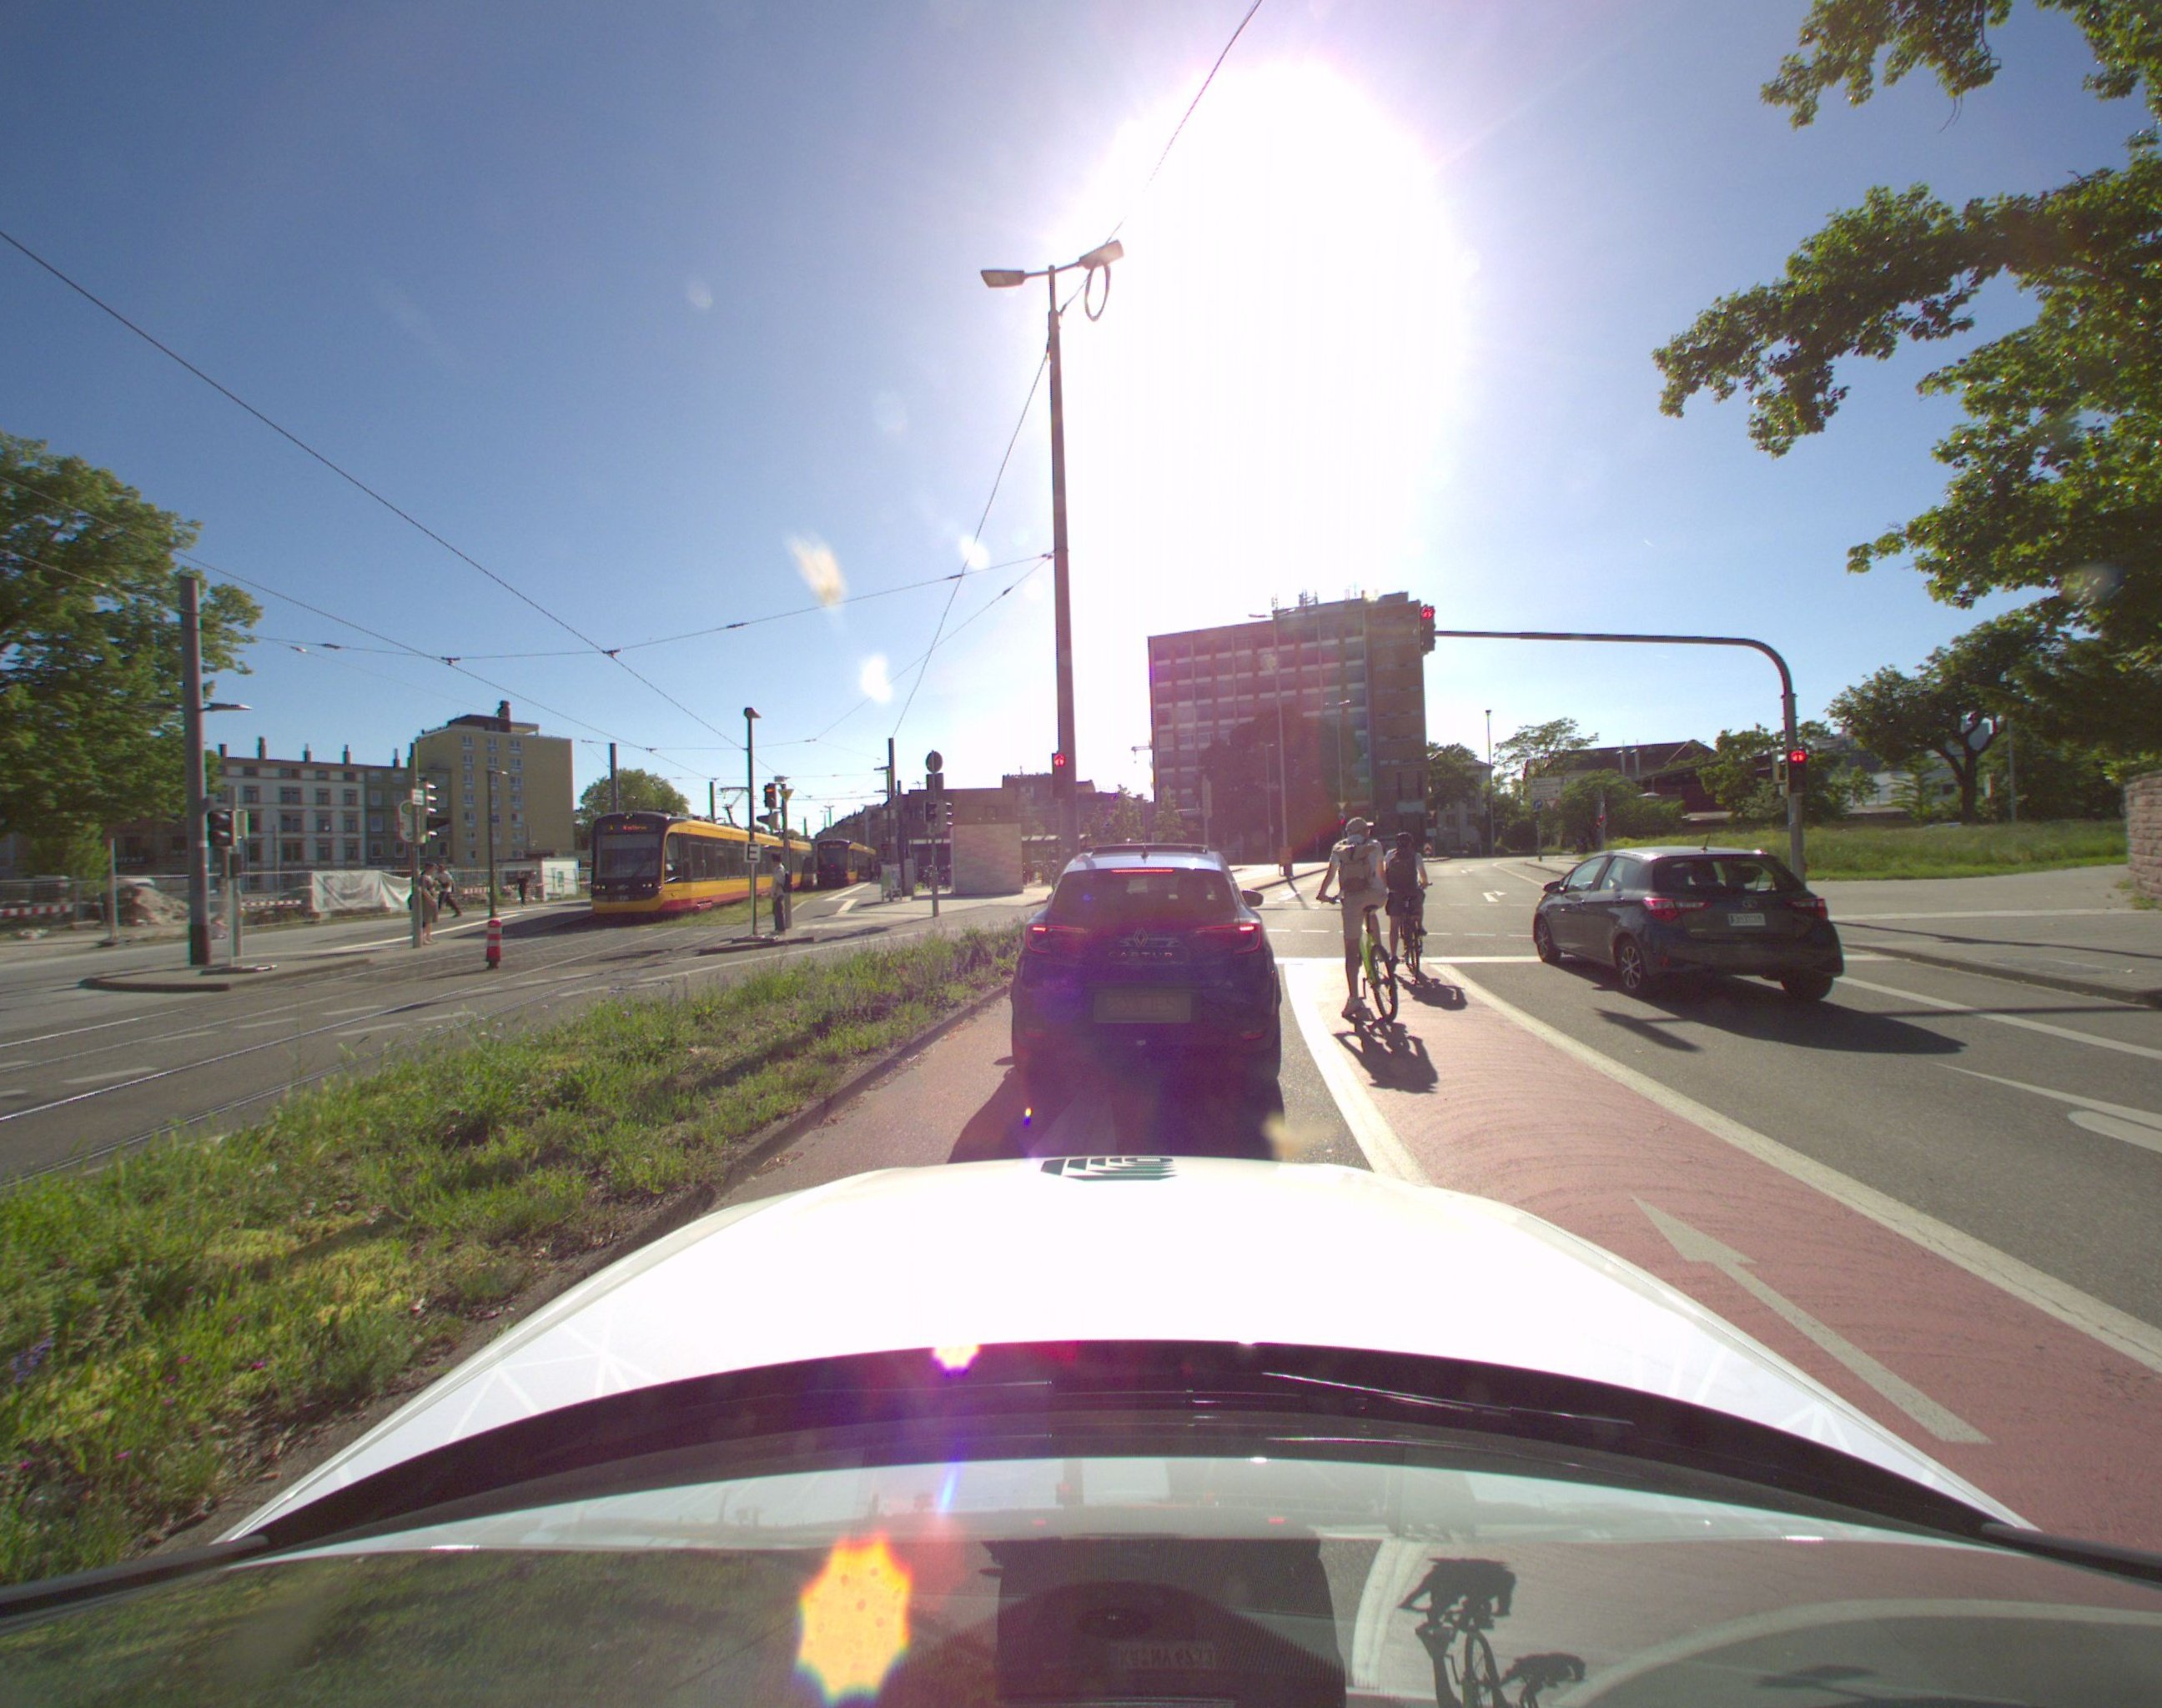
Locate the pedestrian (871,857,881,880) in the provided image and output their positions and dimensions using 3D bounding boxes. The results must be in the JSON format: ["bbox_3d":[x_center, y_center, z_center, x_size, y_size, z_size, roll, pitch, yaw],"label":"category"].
[{"bbox_3d":[-17.064,1.221,67.740,0.673,1.857,0.701,-1,-2,-7],"label":"pedestrian"}]

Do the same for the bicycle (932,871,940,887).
[{"bbox_3d":[-8.534,1.472,47.976,0.422,0.938,1.300,0,-1,-13],"label":"bicycle"}]

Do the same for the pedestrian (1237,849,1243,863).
[{"bbox_3d":[20.364,0.268,104.160,0.555,1.670,0.479,-2,-2,39],"label":"pedestrian"}]

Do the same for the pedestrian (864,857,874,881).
[{"bbox_3d":[-17.158,1.224,66.025,0.740,1.918,0.739,-1,-2,-14],"label":"pedestrian"}]

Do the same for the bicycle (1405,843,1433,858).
[{"bbox_3d":[37.607,-0.396,90.650,2.775,1.541,0.889,-2,-2,27],"label":"bicycle"}]

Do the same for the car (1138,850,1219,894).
[{"bbox_3d":[3.701,0.612,30.199,1.784,1.393,4.116,-2,1,24],"label":"car"}]

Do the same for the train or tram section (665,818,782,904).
[{"bbox_3d":[-16.804,0.338,39.167,2.818,3.508,10.569,-1,0,-11],"label":"train or tram section"}]

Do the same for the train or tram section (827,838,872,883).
[{"bbox_3d":[-19.752,0.593,69.963,2.873,3.508,10.499,-1,0,-12],"label":"train or tram section"}]

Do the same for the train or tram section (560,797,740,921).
[{"bbox_3d":[-14.690,0.195,28.871,2.820,3.508,10.433,-2,0,-12],"label":"train or tram section"}]

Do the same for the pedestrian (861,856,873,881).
[{"bbox_3d":[-16.009,1.102,60.880,0.848,1.883,0.757,-1,-2,-14],"label":"pedestrian"}]

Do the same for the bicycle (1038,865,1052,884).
[{"bbox_3d":[-1.936,1.072,43.224,0.580,0.961,2.053,-1,-1,-7],"label":"bicycle"}]

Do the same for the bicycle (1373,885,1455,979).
[{"bbox_3d":[4.048,0.904,10.016,0.717,0.960,1.892,-1,0,16],"label":"bicycle"}]

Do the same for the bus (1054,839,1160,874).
[{"bbox_3d":[2.591,0.381,86.975,12.287,3.396,2.900,-2,-2,42],"label":"bus"}]

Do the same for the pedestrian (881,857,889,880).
[{"bbox_3d":[-16.205,1.196,67.374,0.634,1.857,0.699,0,-2,-17],"label":"pedestrian"}]

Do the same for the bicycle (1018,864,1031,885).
[{"bbox_3d":[-2.965,1.081,42.873,0.580,1.058,1.812,-1,-1,-7],"label":"bicycle"}]

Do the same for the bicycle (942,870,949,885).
[{"bbox_3d":[-8.810,1.521,53.008,0.421,0.938,1.374,0,-1,-9],"label":"bicycle"}]

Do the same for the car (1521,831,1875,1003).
[{"bbox_3d":[6.584,0.585,9.255,1.745,1.541,3.670,-1,0,11],"label":"car"}]

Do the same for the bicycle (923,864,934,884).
[{"bbox_3d":[-8.665,1.135,46.262,0.565,1.093,2.023,-1,-1,-9],"label":"bicycle"}]

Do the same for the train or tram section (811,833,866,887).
[{"bbox_3d":[-17.601,0.444,59.721,2.873,3.508,10.499,-1,0,-12],"label":"train or tram section"}]

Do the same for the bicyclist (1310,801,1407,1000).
[{"bbox_3d":[2.600,0.417,7.726,0.660,1.747,1.008,-2,0,9],"label":"bicyclist"}]

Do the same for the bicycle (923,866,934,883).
[{"bbox_3d":[-9.852,1.307,52.602,0.565,1.093,2.023,-1,-1,-9],"label":"bicycle"}]

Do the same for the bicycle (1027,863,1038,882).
[{"bbox_3d":[-2.922,1.112,48.911,0.580,1.088,2.053,-1,-1,-7],"label":"bicycle"}]

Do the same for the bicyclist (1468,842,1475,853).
[{"bbox_3d":[52.620,-0.821,109.742,0.612,1.444,0.824,-2,0,32],"label":"bicyclist"}]

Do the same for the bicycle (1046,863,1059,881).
[{"bbox_3d":[-1.715,1.091,48.954,0.580,1.088,2.053,-1,-1,-7],"label":"bicycle"}]

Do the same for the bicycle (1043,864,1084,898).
[{"bbox_3d":[-0.580,0.912,28.166,0.767,1.080,2.044,-3,-1,16],"label":"bicycle"}]

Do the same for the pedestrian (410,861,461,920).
[{"bbox_3d":[-20.302,1.135,25.613,0.854,1.767,0.980,-3,0,33],"label":"pedestrian"}]

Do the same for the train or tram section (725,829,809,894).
[{"bbox_3d":[-18.917,0.456,49.825,2.818,3.508,11.166,-1,0,-11],"label":"train or tram section"}]

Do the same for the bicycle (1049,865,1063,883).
[{"bbox_3d":[-1.322,1.063,43.297,0.580,0.961,2.053,-1,-1,-7],"label":"bicycle"}]

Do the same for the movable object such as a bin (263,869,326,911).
[{"bbox_3d":[-53.462,2.423,55.361,3.950,2.796,1.844,-2,-2,26],"label":"movable object such as a bin"}]

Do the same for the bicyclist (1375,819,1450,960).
[{"bbox_3d":[4.044,0.412,10.003,0.716,1.626,1.059,-1,0,16],"label":"bicyclist"}]

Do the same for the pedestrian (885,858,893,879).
[{"bbox_3d":[-16.943,1.268,71.905,0.632,1.857,0.700,-1,-2,-9],"label":"pedestrian"}]

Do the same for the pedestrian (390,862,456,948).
[{"bbox_3d":[-15.022,1.140,18.620,0.902,1.850,0.759,-2,2,-20],"label":"pedestrian"}]

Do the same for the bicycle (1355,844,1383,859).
[{"bbox_3d":[32.214,-0.289,91.182,2.775,1.541,0.889,-2,-2,27],"label":"bicycle"}]

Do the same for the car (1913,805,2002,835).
[{"bbox_3d":[67.859,-2.569,63.143,4.305,2.014,2.013,-2,-2,34],"label":"car"}]

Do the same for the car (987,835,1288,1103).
[{"bbox_3d":[0.569,0.695,6.791,1.813,1.600,3.666,-1,0,8],"label":"car"}]

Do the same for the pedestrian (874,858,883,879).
[{"bbox_3d":[-17.939,1.290,72.119,0.631,1.857,0.701,-1,-2,-7],"label":"pedestrian"}]

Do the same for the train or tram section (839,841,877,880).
[{"bbox_3d":[-21.871,0.651,80.262,2.873,3.508,10.499,-1,0,-12],"label":"train or tram section"}]

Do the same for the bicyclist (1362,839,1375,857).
[{"bbox_3d":[32.211,-0.655,91.176,1.195,1.897,0.889,-2,-2,27],"label":"bicyclist"}]

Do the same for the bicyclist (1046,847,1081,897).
[{"bbox_3d":[-0.599,0.619,28.211,0.873,1.644,1.065,-3,-1,16],"label":"bicyclist"}]

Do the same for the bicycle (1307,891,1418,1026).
[{"bbox_3d":[2.635,0.930,7.825,0.659,1.047,1.895,-2,0,9],"label":"bicycle"}]

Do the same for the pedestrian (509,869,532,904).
[{"bbox_3d":[-28.835,1.648,41.877,0.668,1.767,0.796,-2,0,-13],"label":"pedestrian"}]

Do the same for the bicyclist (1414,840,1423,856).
[{"bbox_3d":[37.600,-0.636,90.639,0.850,1.692,0.889,-2,-2,27],"label":"bicyclist"}]

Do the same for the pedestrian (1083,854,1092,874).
[{"bbox_3d":[0.598,0.978,79.080,0.721,1.857,0.705,-1,-2,10],"label":"pedestrian"}]

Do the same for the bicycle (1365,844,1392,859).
[{"bbox_3d":[34.069,-0.272,93.278,2.775,1.541,0.889,-2,-2,27],"label":"bicycle"}]

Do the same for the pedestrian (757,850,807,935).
[{"bbox_3d":[-6.681,0.844,18.206,1.020,1.832,0.755,0,-2,-23],"label":"pedestrian"}]

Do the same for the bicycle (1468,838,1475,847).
[{"bbox_3d":[52.601,-1.525,109.755,0.603,1.093,1.682,-3,0,32],"label":"bicycle"}]

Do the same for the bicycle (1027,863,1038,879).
[{"bbox_3d":[-3.354,1.178,56.400,0.580,1.088,1.865,-1,-1,-9],"label":"bicycle"}]
